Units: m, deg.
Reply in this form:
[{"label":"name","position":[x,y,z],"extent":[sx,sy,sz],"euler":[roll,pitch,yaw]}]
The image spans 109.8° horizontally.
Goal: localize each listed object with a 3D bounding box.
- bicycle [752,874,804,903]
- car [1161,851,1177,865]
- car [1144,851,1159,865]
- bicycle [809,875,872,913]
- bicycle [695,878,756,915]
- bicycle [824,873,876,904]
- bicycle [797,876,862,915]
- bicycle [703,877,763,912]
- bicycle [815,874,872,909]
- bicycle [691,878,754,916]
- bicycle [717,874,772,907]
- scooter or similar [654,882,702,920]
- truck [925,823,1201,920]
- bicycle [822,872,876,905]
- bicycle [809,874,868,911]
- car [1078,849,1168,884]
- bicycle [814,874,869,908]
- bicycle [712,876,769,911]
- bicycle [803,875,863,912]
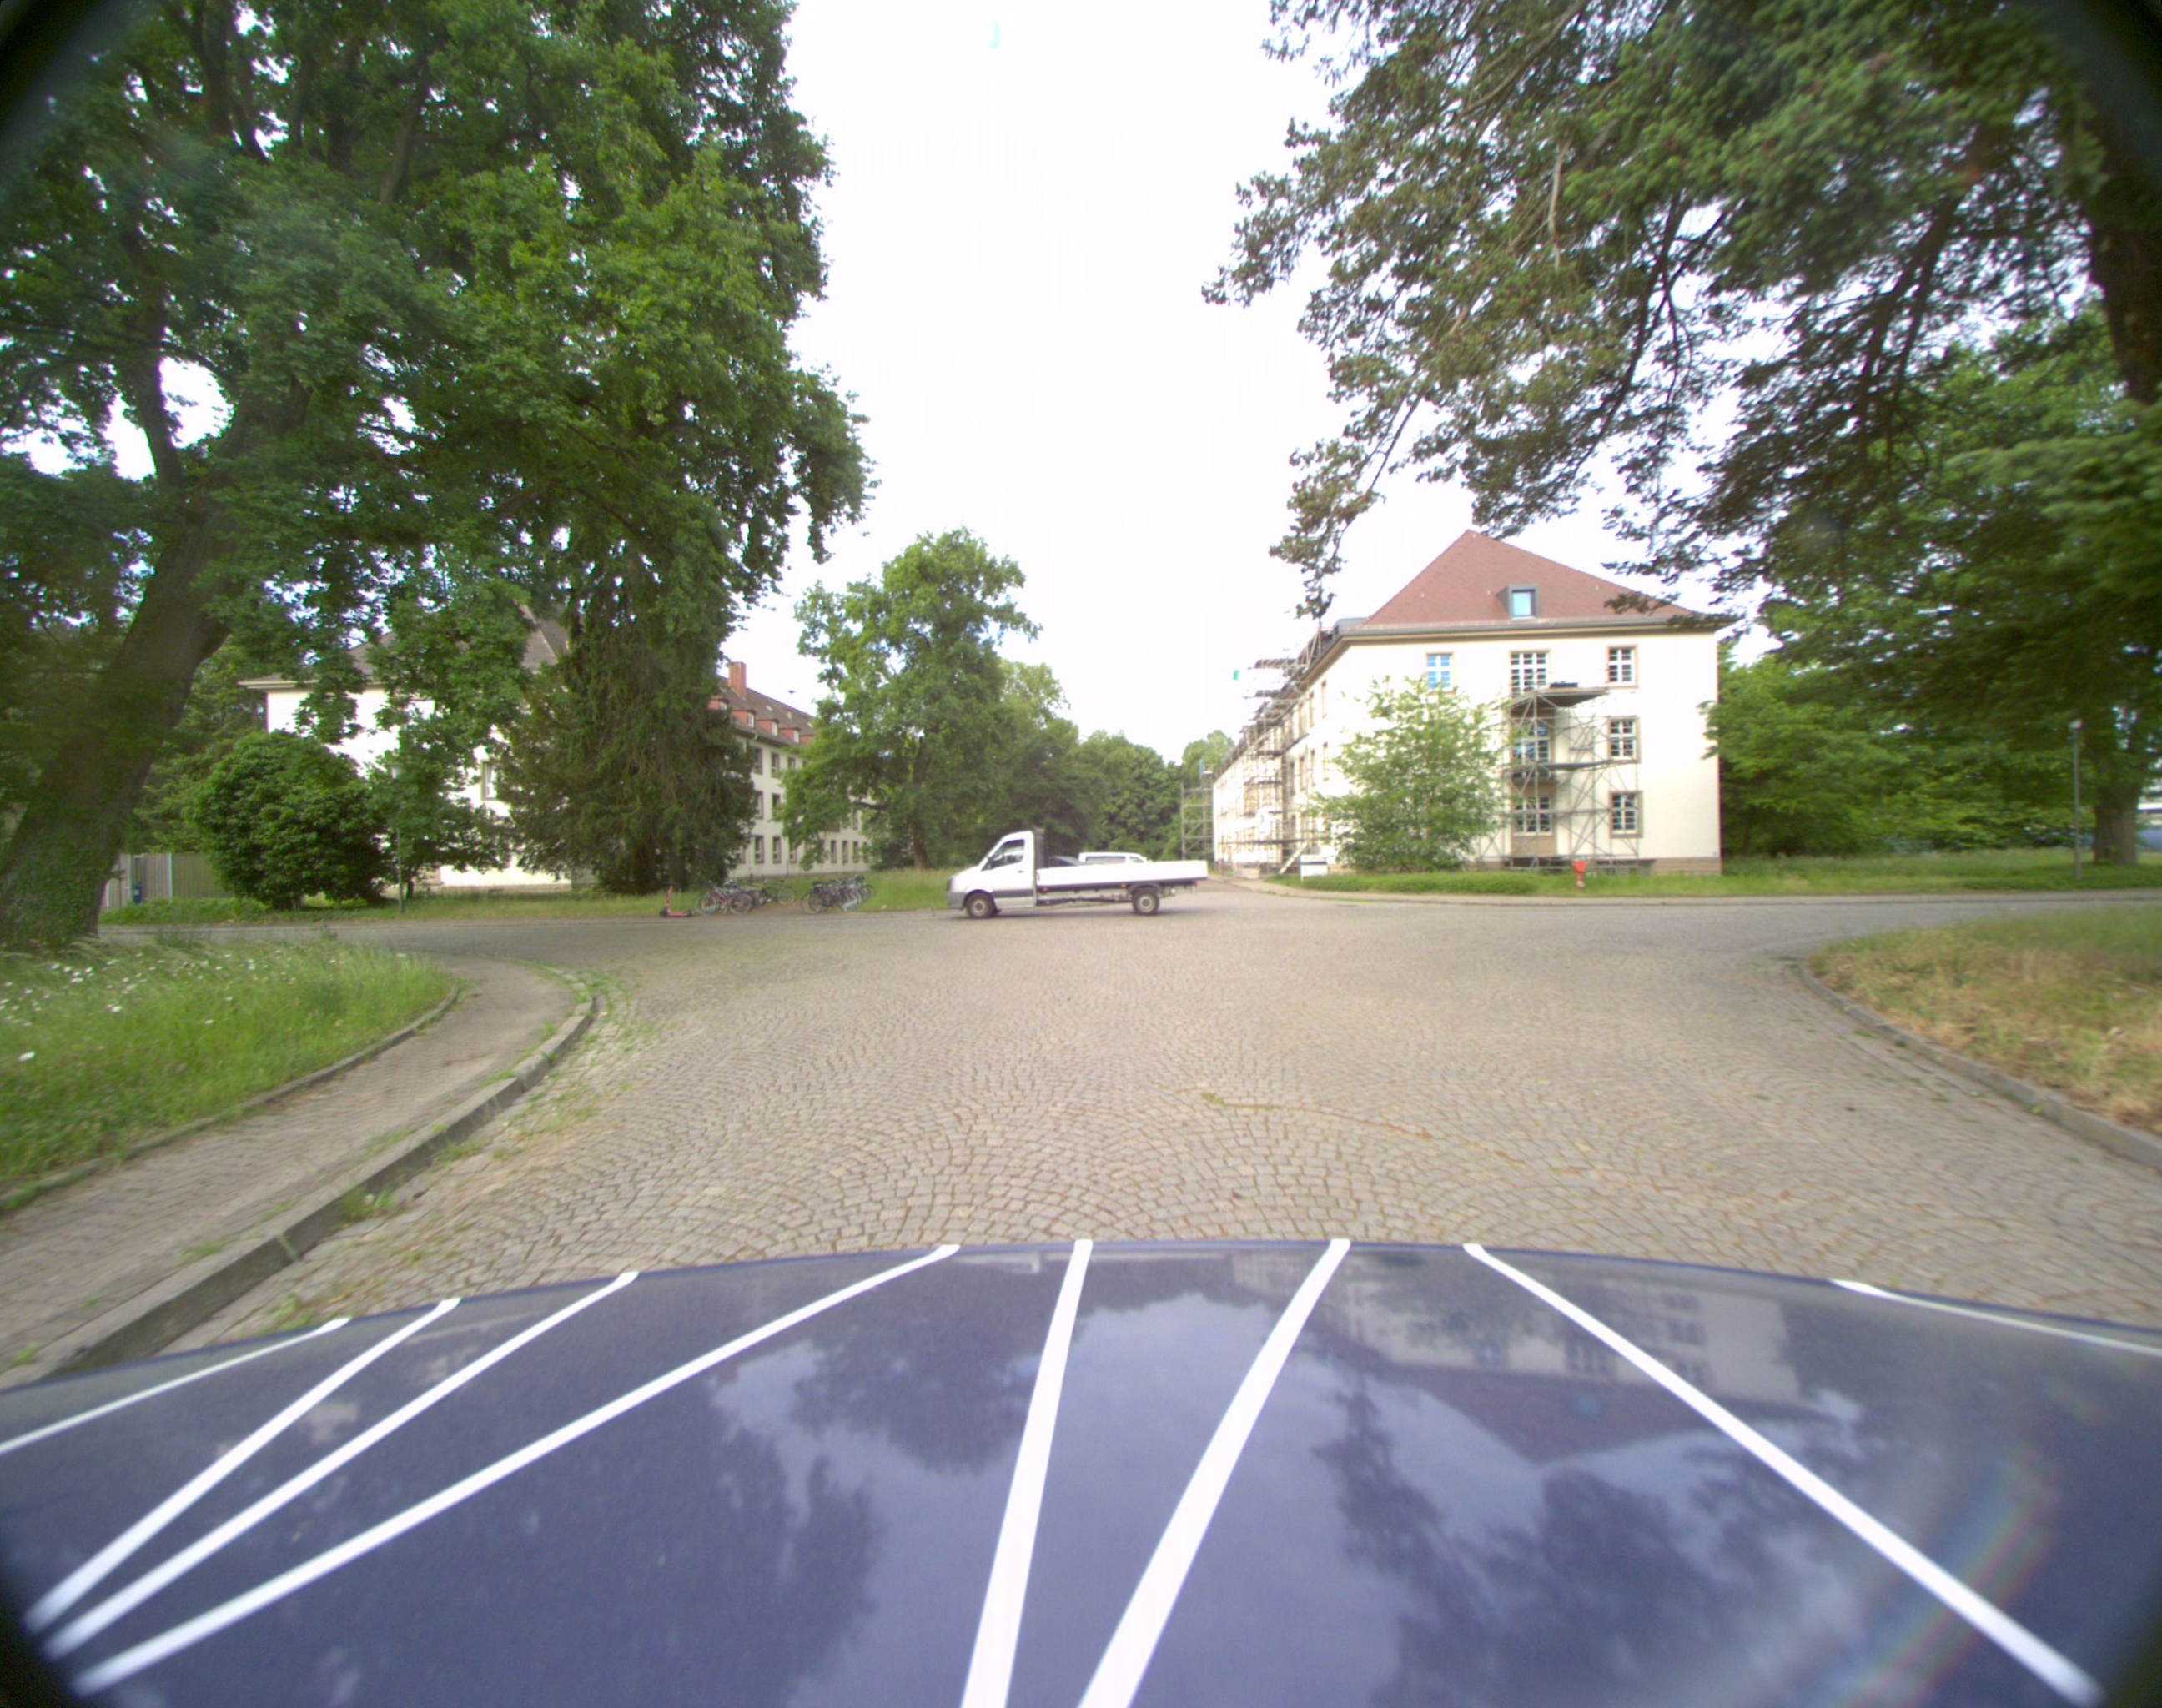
[{"label":"bicycle","position":[-12.095,1.367,30.360],"extent":[1.859,1.163,0.488],"euler":[0,0,-5]},{"label":"car","position":[12.788,0.516,110.706],"extent":[1.962,2.002,4.261],"euler":[-1,0,3]},{"label":"car","position":[10.241,0.578,110.649],"extent":[1.962,2.002,4.261],"euler":[-1,0,3]},{"label":"bicycle","position":[-8.166,1.349,25.816],"extent":[1.942,1.163,0.487],"euler":[-3,1,-23]},{"label":"bicycle","position":[-12.311,1.453,26.364],"extent":[1.861,1.163,0.487],"euler":[-2,0,-21]},{"label":"bicycle","position":[-9.394,1.396,30.938],"extent":[1.940,1.163,0.537],"euler":[-3,1,-12]},{"label":"bicycle","position":[-8.328,1.359,25.148],"extent":[1.942,1.163,0.487],"euler":[-3,1,-23]},{"label":"bicycle","position":[-12.385,1.427,27.083],"extent":[1.861,1.163,0.487],"euler":[-2,0,-17]},{"label":"bicycle","position":[-8.780,1.373,28.179],"extent":[1.941,1.163,0.487],"euler":[-3,1,-18]},{"label":"bicycle","position":[-12.153,1.444,25.783],"extent":[1.861,1.163,0.487],"euler":[-2,0,-21]},{"label":"bicycle","position":[-12.956,1.411,29.290],"extent":[1.862,1.163,0.487],"euler":[-2,0,-25]},{"label":"scooter or similar","position":[-13.296,1.538,25.085],"extent":[1.307,1.163,0.413],"euler":[-3,1,3]},{"label":"truck","position":[-0.428,0.483,20.501],"extent":[7.080,2.352,1.994],"euler":[-1,-1,4]},{"label":"bicycle","position":[-9.049,1.338,29.671],"extent":[1.941,1.163,0.487],"euler":[-3,1,-18]},{"label":"bicycle","position":[-8.741,1.373,27.395],"extent":[1.941,1.163,0.487],"euler":[-3,1,-21]},{"label":"car","position":[2.492,0.731,44.841],"extent":[5.147,2.002,2.000],"euler":[-1,1,4]},{"label":"bicycle","position":[-9.162,1.389,29.065],"extent":[1.941,1.163,0.487],"euler":[-3,1,-18]},{"label":"bicycle","position":[-12.473,1.430,27.858],"extent":[1.862,1.163,0.487],"euler":[-2,0,-25]},{"label":"bicycle","position":[-8.725,1.373,26.778],"extent":[1.941,1.163,0.487],"euler":[-3,1,-21]}]
